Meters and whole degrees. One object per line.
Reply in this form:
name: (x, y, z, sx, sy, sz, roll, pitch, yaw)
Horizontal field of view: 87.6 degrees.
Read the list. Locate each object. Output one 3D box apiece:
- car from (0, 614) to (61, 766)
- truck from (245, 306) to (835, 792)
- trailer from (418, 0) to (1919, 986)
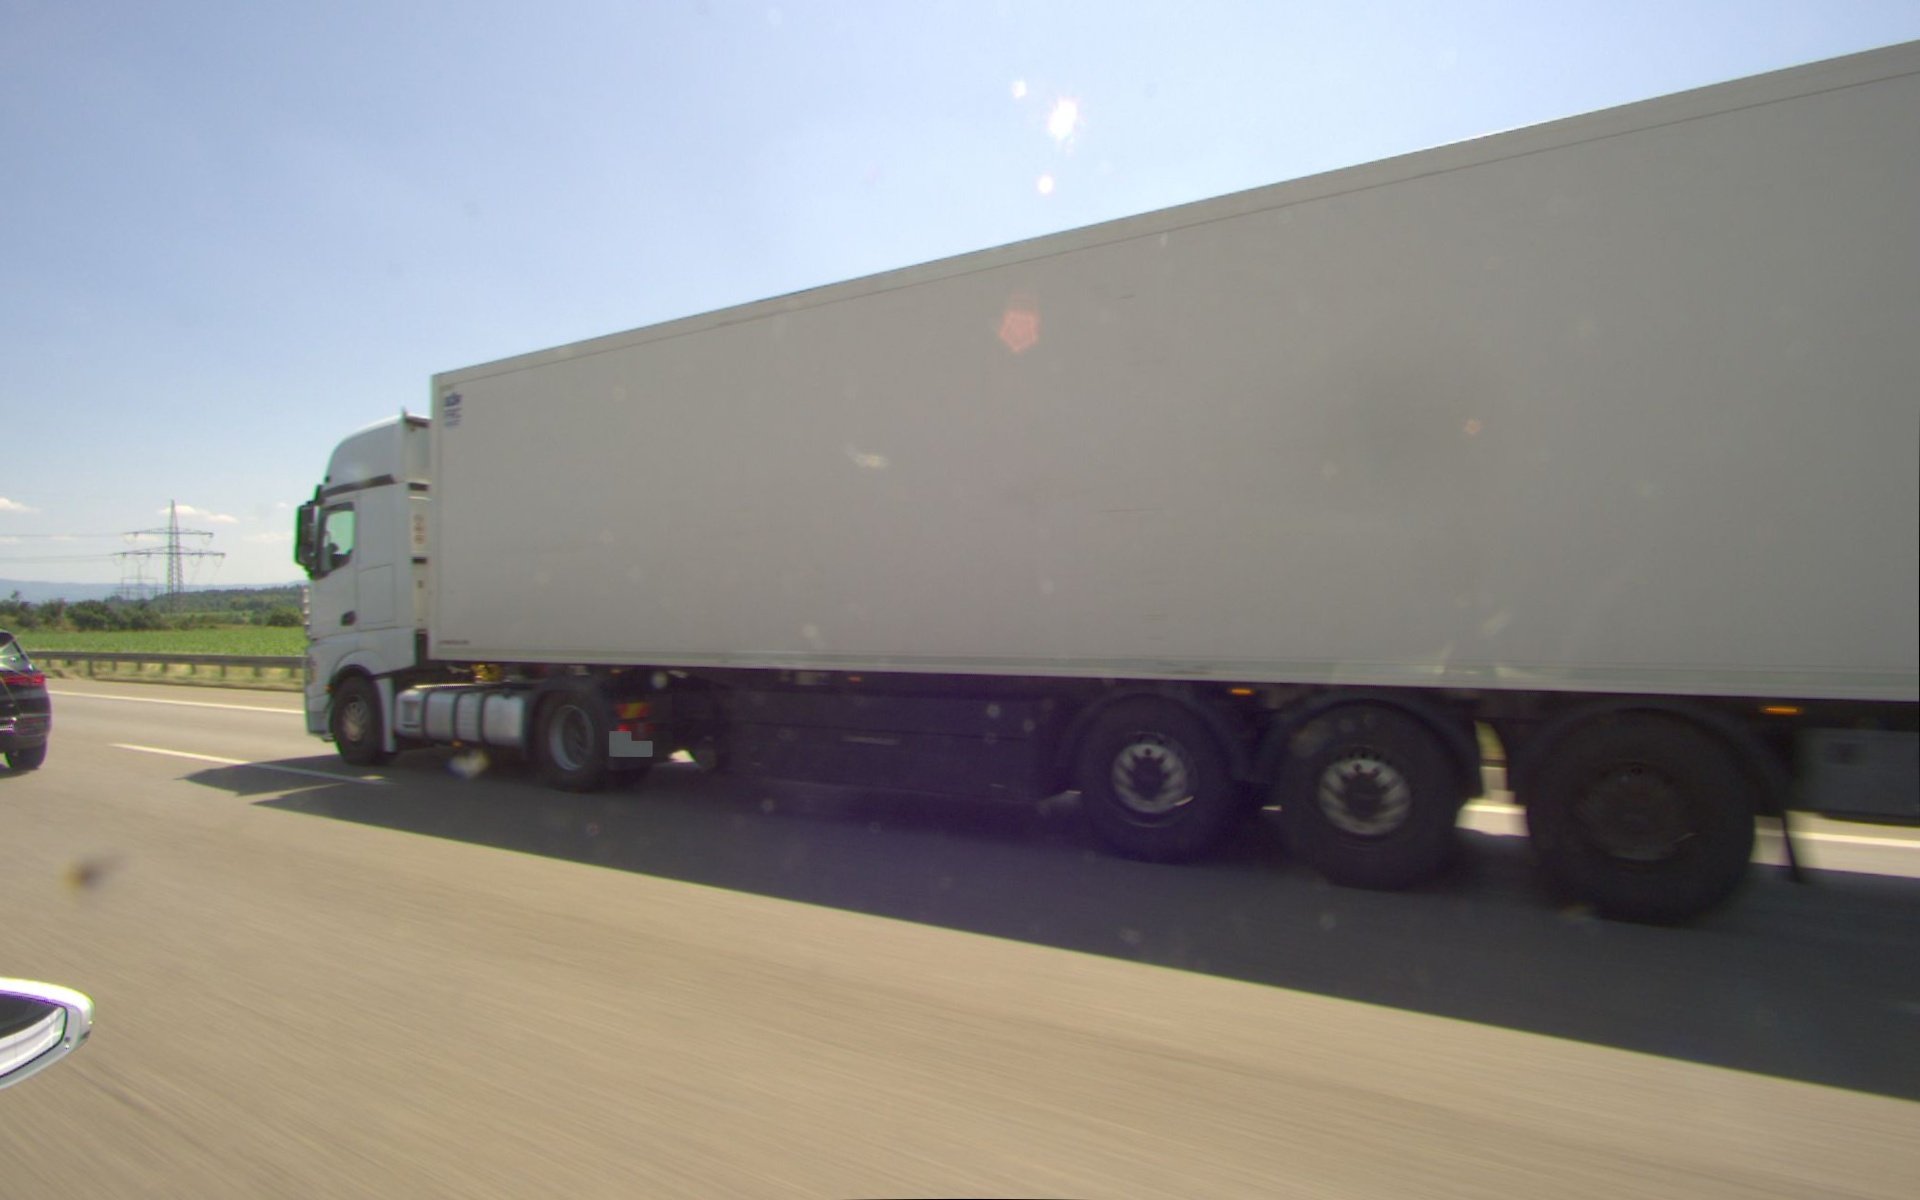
car: (-11.814, 0.955, 11.059, 3.768, 1.582, 1.794, -1, -2, 31)
truck: (-4.988, -0.336, 11.535, 6.780, 4.143, 2.859, -1, -2, 31)
trailer: (0.839, -0.402, 7.863, 13.104, 4.273, 2.863, -1, -2, 32)
